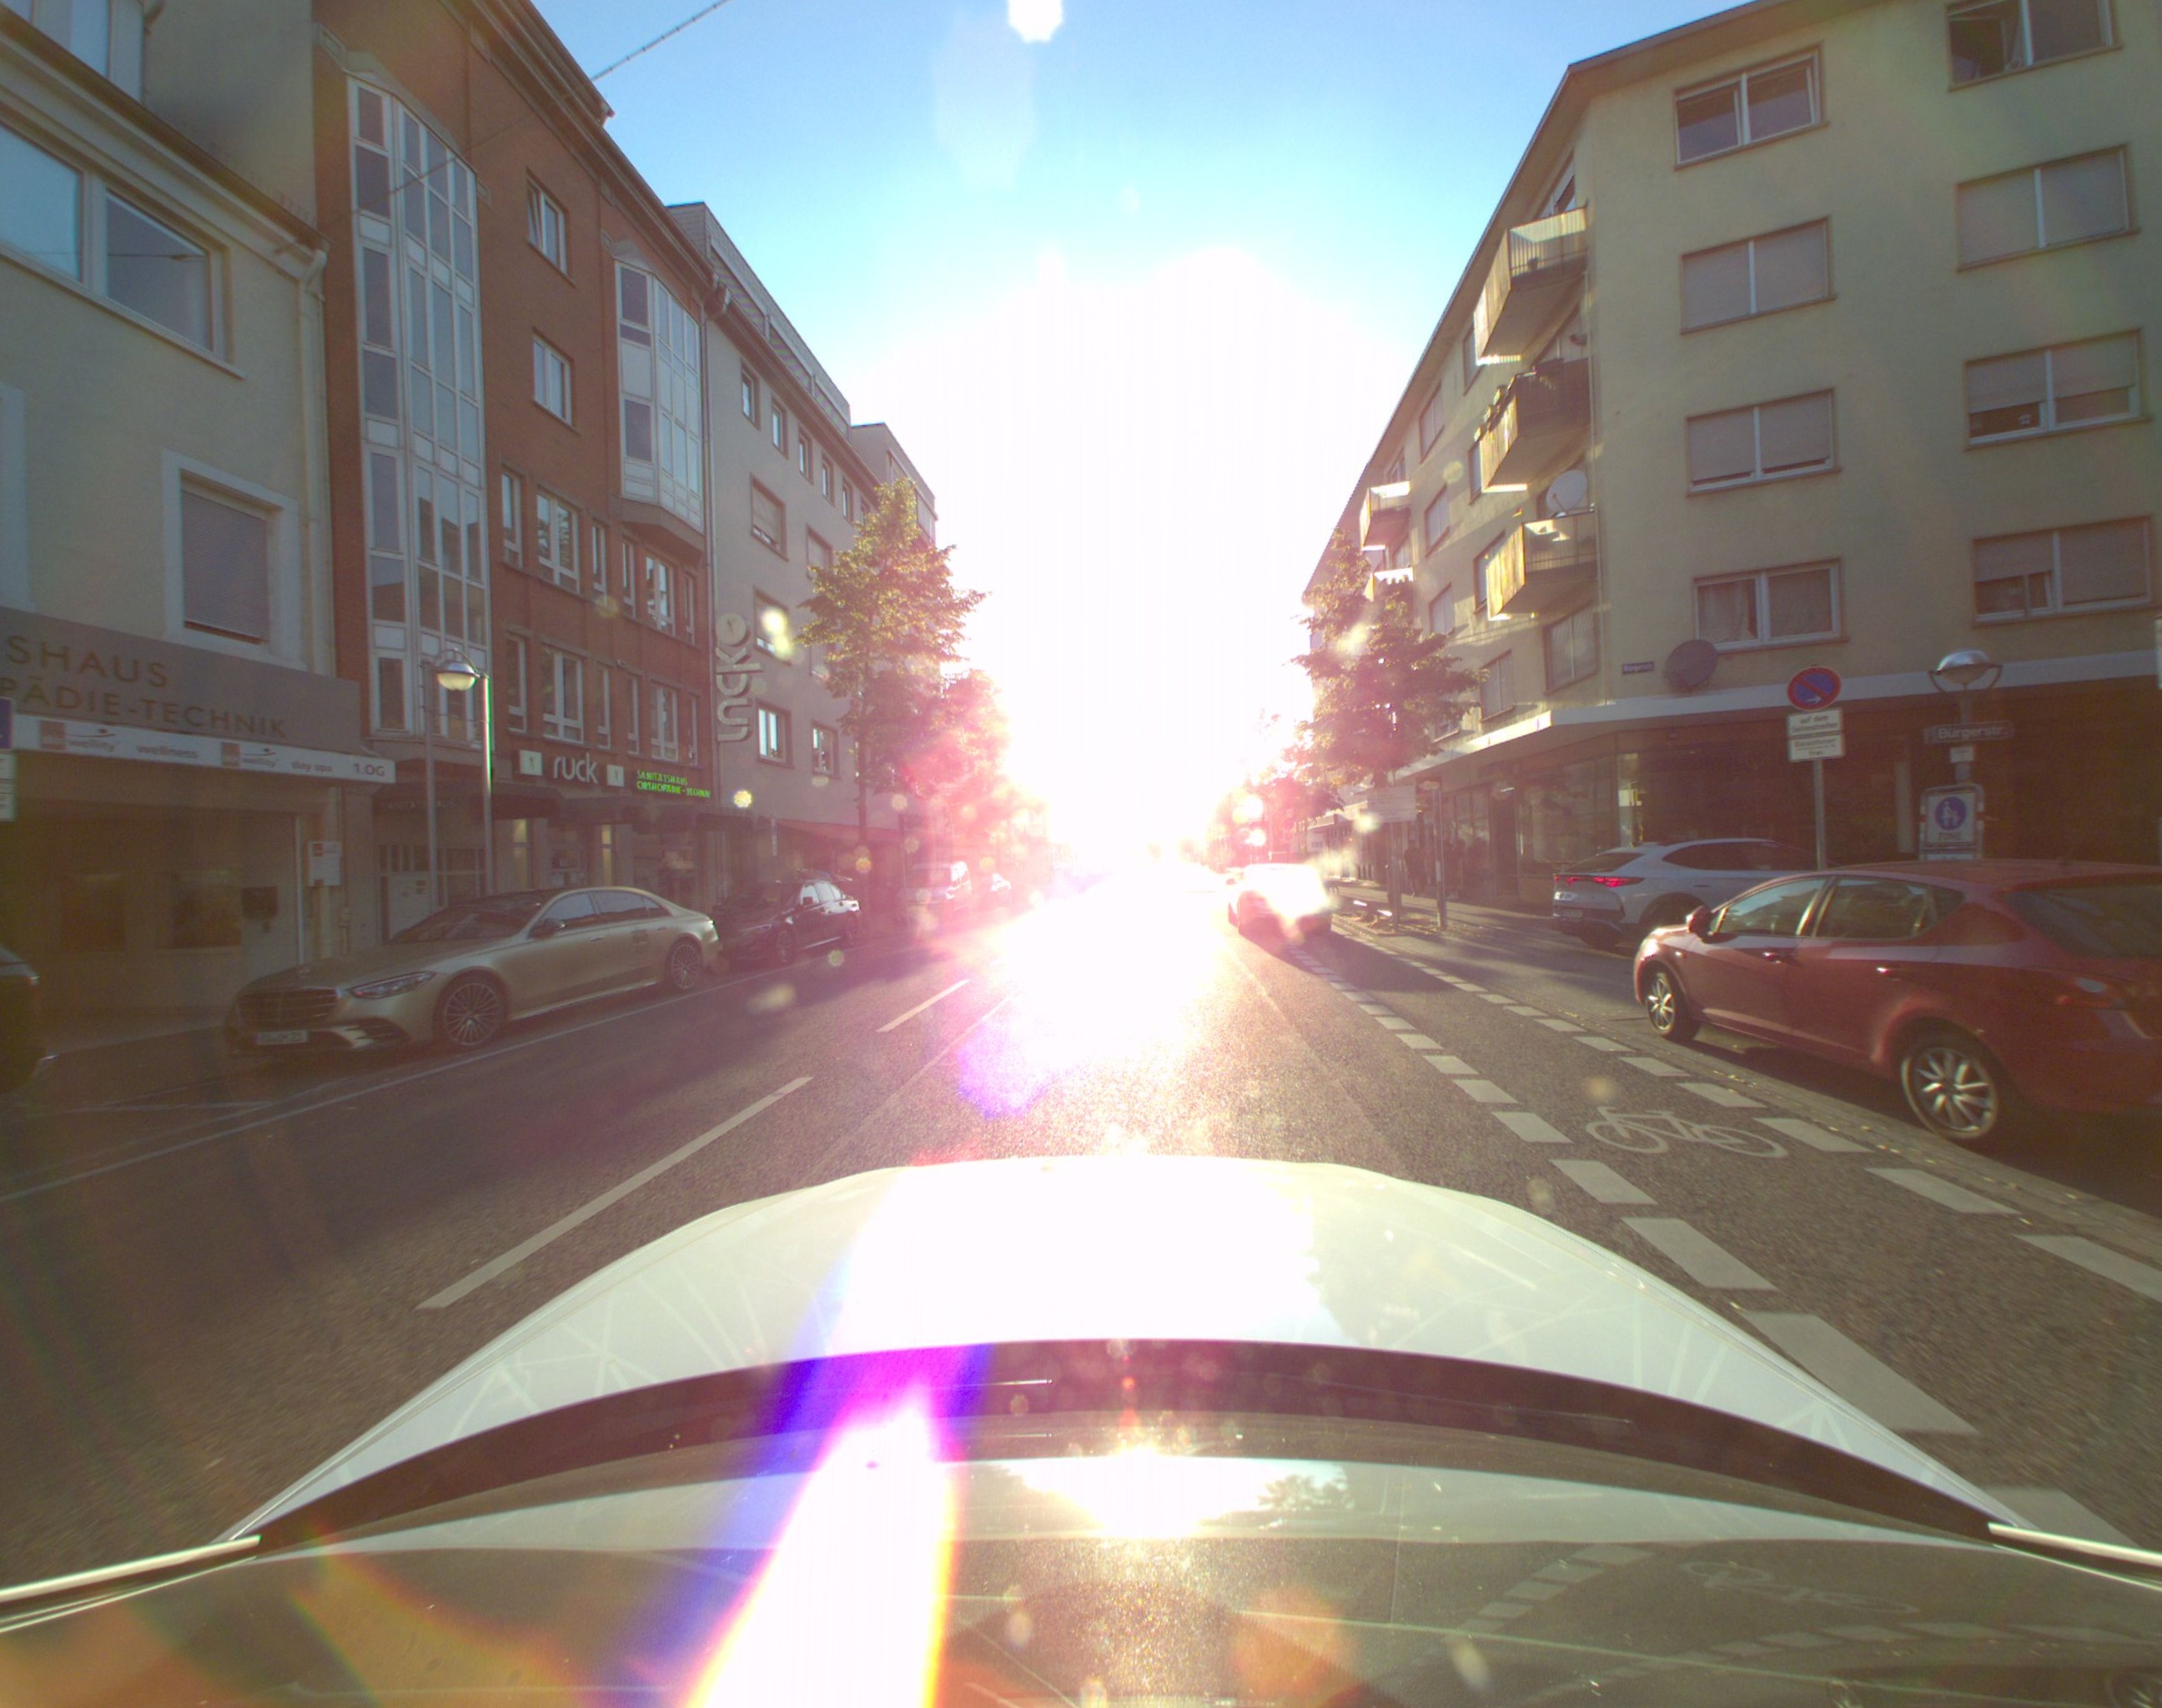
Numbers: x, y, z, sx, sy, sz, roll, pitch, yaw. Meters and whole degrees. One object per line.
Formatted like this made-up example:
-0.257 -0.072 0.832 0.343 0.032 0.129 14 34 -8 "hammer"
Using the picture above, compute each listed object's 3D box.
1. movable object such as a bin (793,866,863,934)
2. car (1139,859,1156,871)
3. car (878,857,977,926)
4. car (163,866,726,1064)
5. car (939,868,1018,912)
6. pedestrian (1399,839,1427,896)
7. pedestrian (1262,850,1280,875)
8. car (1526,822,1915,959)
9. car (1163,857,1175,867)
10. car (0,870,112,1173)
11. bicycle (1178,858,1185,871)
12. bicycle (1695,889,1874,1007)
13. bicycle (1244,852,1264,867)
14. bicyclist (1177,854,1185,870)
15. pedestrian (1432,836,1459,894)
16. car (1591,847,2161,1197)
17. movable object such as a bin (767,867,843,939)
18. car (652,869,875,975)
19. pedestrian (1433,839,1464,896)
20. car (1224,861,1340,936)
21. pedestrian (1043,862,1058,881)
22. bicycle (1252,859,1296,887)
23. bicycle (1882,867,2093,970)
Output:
-6.599 1.179 21.325 1.275 1.673 1.442 1 0 4 "movable object such as a bin"
10.172 1.624 123.912 2.291 1.678 5.542 -3 -1 7 "car"
-4.527 1.052 24.686 1.907 1.787 4.151 -3 0 3 "car"
-6.480 0.978 9.367 1.983 1.511 5.123 -3 0 7 "car"
-3.760 1.289 30.701 1.905 1.386 4.389 -3 0 6 "car"
10.698 0.416 26.254 0.704 1.807 0.651 0 0 6 "pedestrian"
13.536 0.619 58.055 0.796 1.726 1.000 -5 -2 34 "pedestrian"
9.111 0.502 11.877 4.156 1.611 1.856 -3 -1 0 "car"
17.645 1.589 162.619 2.291 1.678 5.542 -3 -1 7 "car"
-7.544 1.035 2.715 1.984 1.769 5.306 -3 0 5 "car"
11.028 1.183 89.664 0.675 1.402 2.235 -3 -1 8 "bicycle"
6.786 0.860 7.961 0.389 0.956 1.617 -2 -1 3 "bicycle"
19.633 0.617 92.480 2.208 1.523 0.683 -3 -1 11 "bicycle"
10.993 0.877 89.519 0.675 1.707 0.671 -3 -1 8 "bicyclist"
11.330 0.329 25.329 0.581 1.782 0.526 0 0 -13 "pedestrian"
5.414 0.719 5.451 1.714 1.421 4.038 -3 0 6 "car"
-6.707 1.169 19.895 1.274 1.673 1.370 1 0 4 "movable object such as a bin"
-5.664 1.130 15.308 1.905 1.511 4.646 -3 0 6 "car"
10.930 0.396 24.227 0.638 1.660 0.779 0 0 6 "pedestrian"
4.169 0.856 17.563 1.792 1.378 4.559 -1 0 6 "car"
-2.511 1.427 67.038 0.875 1.548 0.691 -2 -1 -42 "pedestrian"
8.907 0.879 37.603 1.902 1.203 0.471 -2 -1 8 "bicycle"
10.228 0.679 9.297 0.389 1.033 1.846 -2 -1 3 "bicycle"
